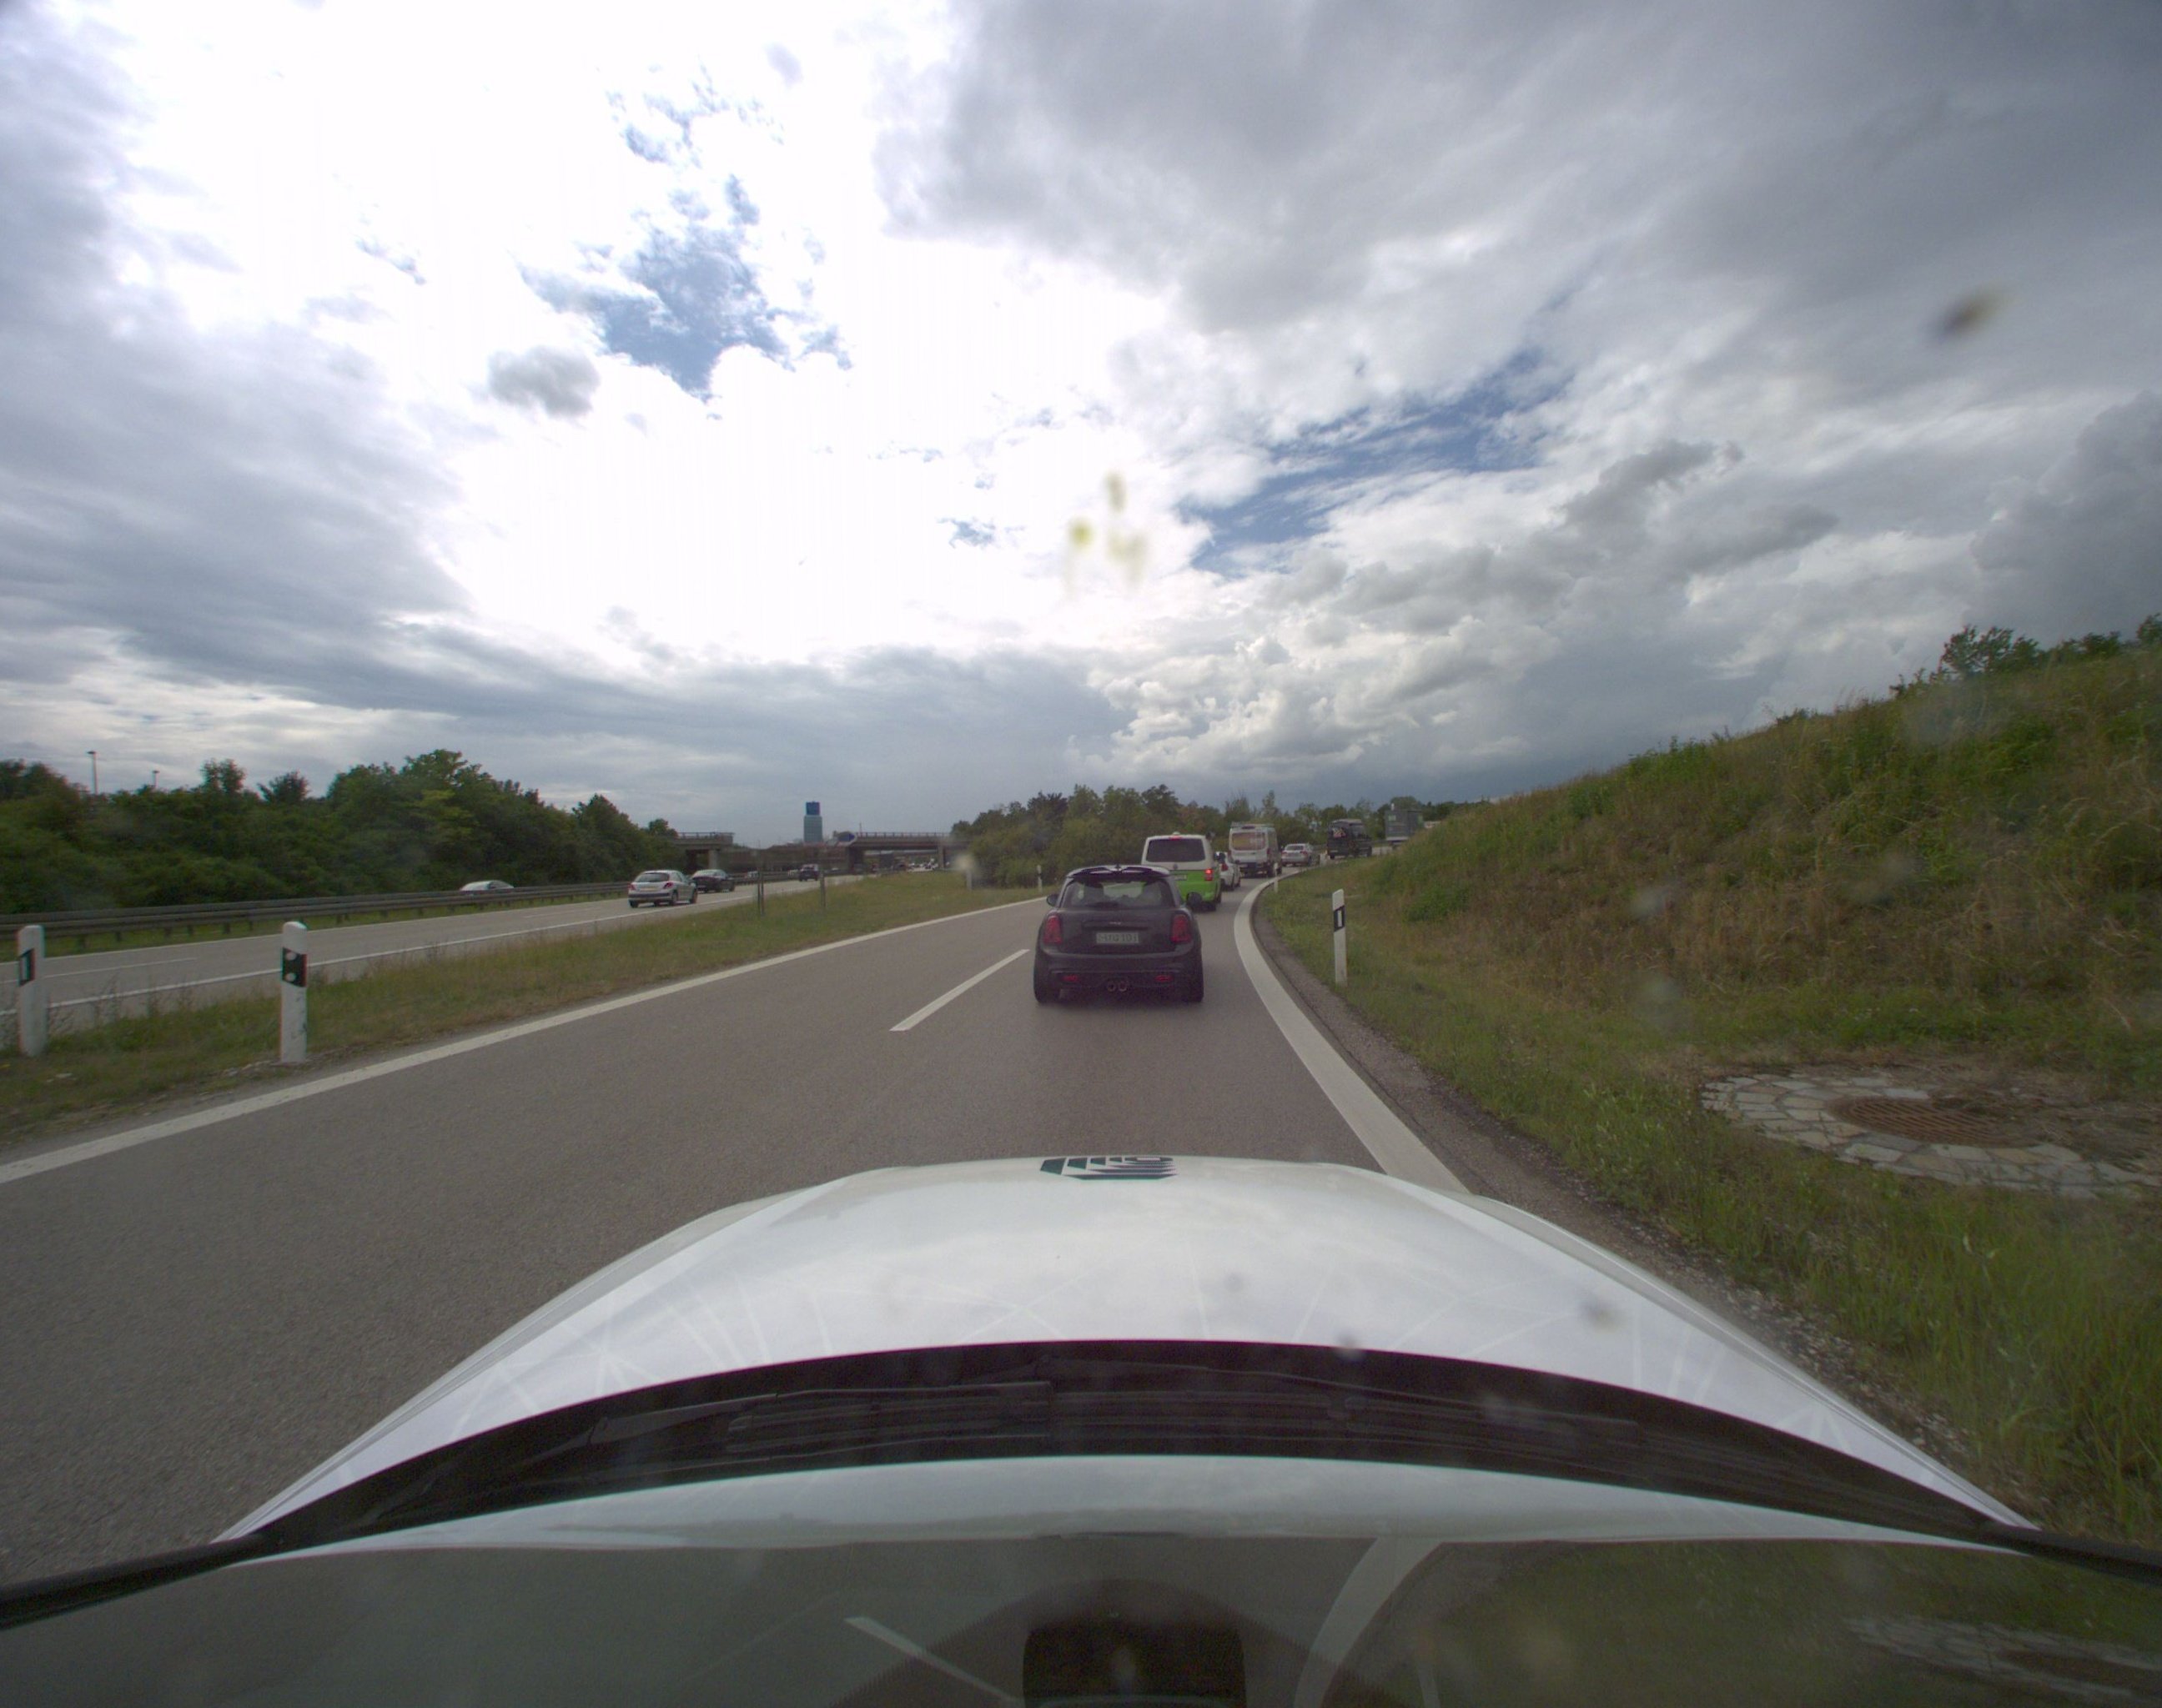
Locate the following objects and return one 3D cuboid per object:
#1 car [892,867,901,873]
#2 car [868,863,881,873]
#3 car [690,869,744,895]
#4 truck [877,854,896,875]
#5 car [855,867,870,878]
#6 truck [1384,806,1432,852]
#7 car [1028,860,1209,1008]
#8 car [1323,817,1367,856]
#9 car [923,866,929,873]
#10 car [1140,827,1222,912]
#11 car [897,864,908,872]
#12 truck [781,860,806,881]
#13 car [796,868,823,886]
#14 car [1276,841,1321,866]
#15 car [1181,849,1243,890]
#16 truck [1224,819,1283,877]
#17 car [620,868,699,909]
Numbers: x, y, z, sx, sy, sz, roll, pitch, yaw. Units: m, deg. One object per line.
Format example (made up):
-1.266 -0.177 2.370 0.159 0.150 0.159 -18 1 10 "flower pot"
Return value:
-50.512 4.357 222.857 1.993 1.785 5.395 -2 0 -9 "car"
-39.615 2.671 156.353 1.993 1.810 3.988 -2 0 -9 "car"
-23.712 1.769 53.288 1.993 1.509 4.764 -2 0 -9 "car"
-33.696 1.805 140.928 2.467 3.371 7.897 -2 -1 -9 "truck"
-36.423 3.072 135.785 1.845 1.758 4.322 -2 -1 -9 "car"
30.373 -2.233 75.436 2.207 3.907 6.053 -2 -2 41 "truck"
0.470 0.789 9.739 1.720 1.413 3.728 -1 -1 3 "car"
19.579 -1.274 60.371 2.084 2.796 4.025 -1 0 33 "car"
-46.969 4.682 246.683 1.994 2.014 3.985 0 -1 -11 "car"
2.742 0.392 21.624 1.772 2.014 4.013 -1 0 12 "car"
-40.242 3.192 183.641 1.875 1.751 4.474 -2 0 -8 "car"
-51.879 2.899 147.246 2.758 3.646 8.171 -2 -1 -9 "truck"
-30.067 2.521 90.159 1.993 1.743 4.813 -2 0 -9 "car"
13.857 -0.048 51.728 1.848 1.510 4.024 -2 -1 28 "car"
4.977 0.543 30.553 1.748 1.399 3.741 -2 -1 17 "car"
8.686 -0.298 40.708 2.160 2.658 5.134 -2 0 19 "truck"
-17.462 1.374 33.936 1.717 1.519 3.987 -2 0 -9 "car"
